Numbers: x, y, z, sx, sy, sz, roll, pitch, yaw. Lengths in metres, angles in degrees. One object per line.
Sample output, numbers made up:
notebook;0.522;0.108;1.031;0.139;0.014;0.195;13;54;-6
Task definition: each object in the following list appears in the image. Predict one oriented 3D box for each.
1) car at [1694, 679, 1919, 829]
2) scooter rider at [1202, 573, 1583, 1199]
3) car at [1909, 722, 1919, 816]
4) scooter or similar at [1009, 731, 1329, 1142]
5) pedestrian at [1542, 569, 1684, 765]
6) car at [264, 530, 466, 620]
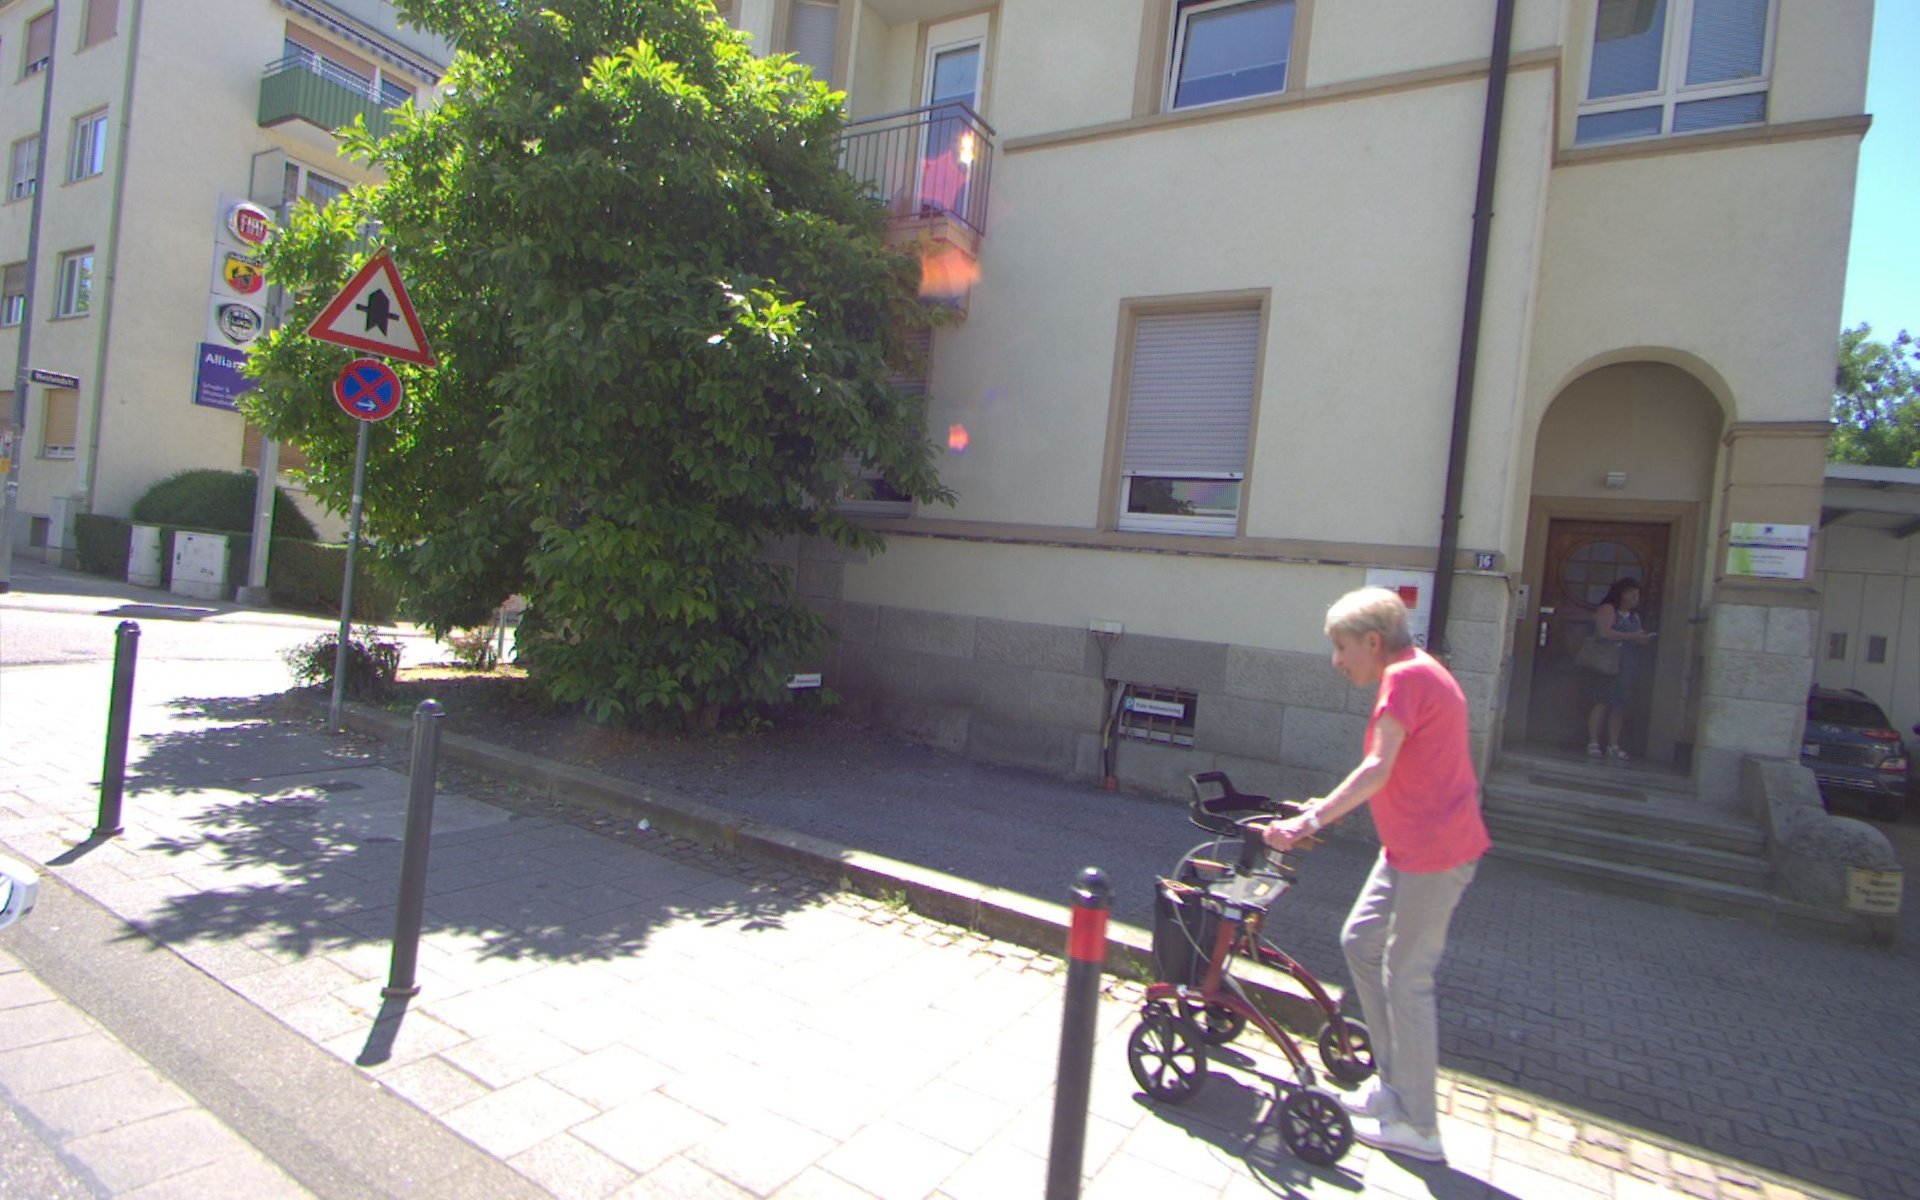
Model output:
car;11.488;1.961;13.801;1.723;1.510;3.738;7;0;30
scooter rider;1.263;0.759;2.943;0.757;1.569;0.716;7;2;29
car;13.454;2.151;12.675;1.785;1.628;3.981;7;1;40
scooter or similar;0.685;0.989;3.239;0.741;0.975;0.664;7;2;31
pedestrian;5.958;0.594;9.199;0.588;1.679;0.734;6;1;-27
car;-12.702;-0.535;21.482;3.787;1.434;1.841;7;0;26
